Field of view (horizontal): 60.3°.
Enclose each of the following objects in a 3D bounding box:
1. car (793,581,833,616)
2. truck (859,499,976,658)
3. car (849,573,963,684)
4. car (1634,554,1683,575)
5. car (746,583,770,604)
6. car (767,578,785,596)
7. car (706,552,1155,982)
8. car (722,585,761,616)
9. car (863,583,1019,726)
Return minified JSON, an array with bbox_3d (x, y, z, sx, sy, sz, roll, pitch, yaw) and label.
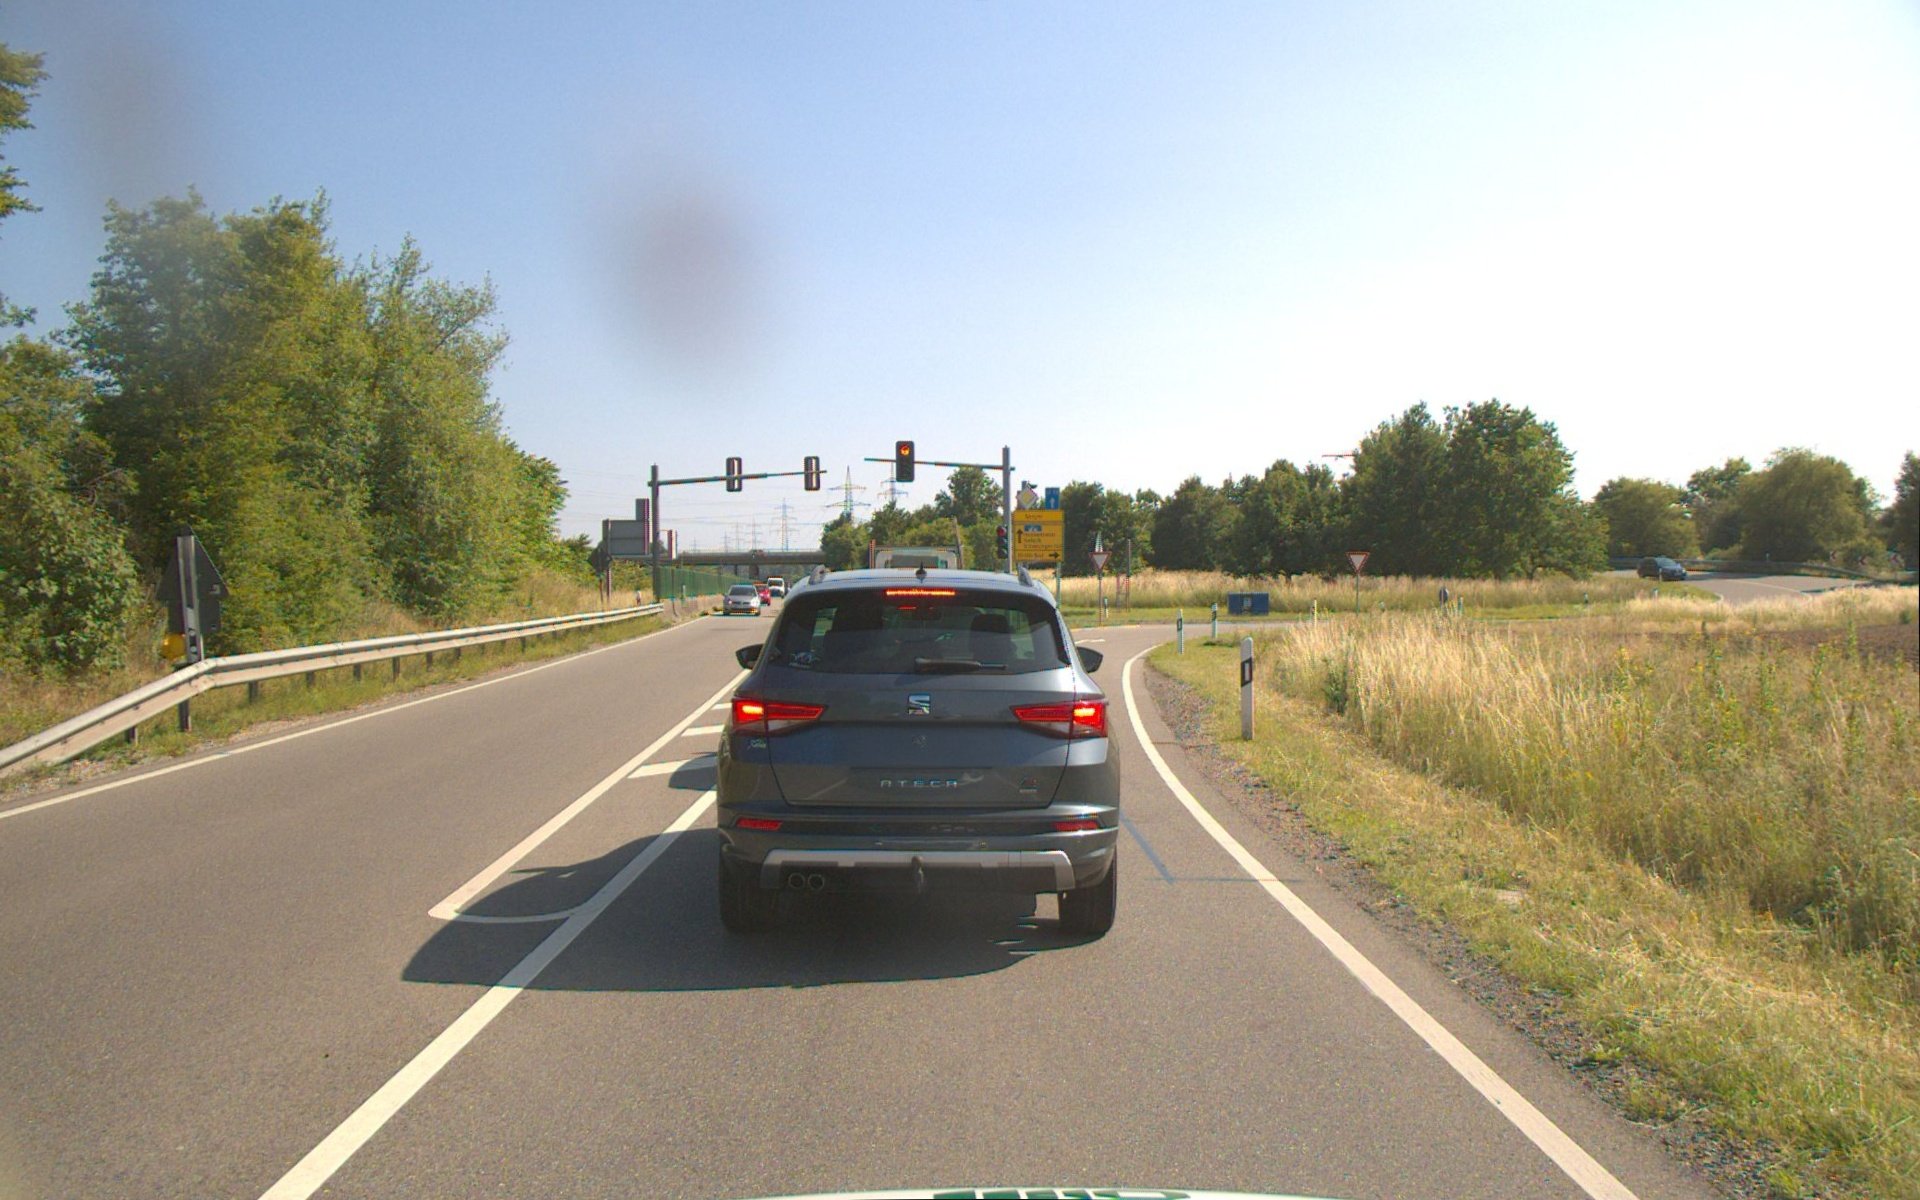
[{"bbox_3d":[-6.948,-0.092,78.012,1.781,1.567,3.994,-1,1,-7],"label":"car"},{"bbox_3d":[-0.931,-0.421,35.290,2.290,3.119,5.807,0,0,-2],"label":"truck"},{"bbox_3d":[-0.948,0.405,27.596,1.750,1.705,3.998,-1,1,-3],"label":"car"},{"bbox_3d":[47.908,-2.428,113.476,1.566,1.416,3.625,-1,1,-5],"label":"car"},{"bbox_3d":[-15.090,-0.505,123.557,1.728,1.456,3.994,-1,1,-7],"label":"car"},{"bbox_3d":[-21.291,-1.545,191.392,1.927,1.986,4.987,-1,1,-8],"label":"car"},{"bbox_3d":[-0.219,0.618,8.477,1.750,1.657,3.998,-1,1,-3],"label":"car"},{"bbox_3d":[-10.561,0.003,80.105,1.789,1.456,3.994,-1,1,-7],"label":"car"},{"bbox_3d":[-0.322,0.589,20.592,1.750,1.570,3.998,-1,1,-3],"label":"car"}]
